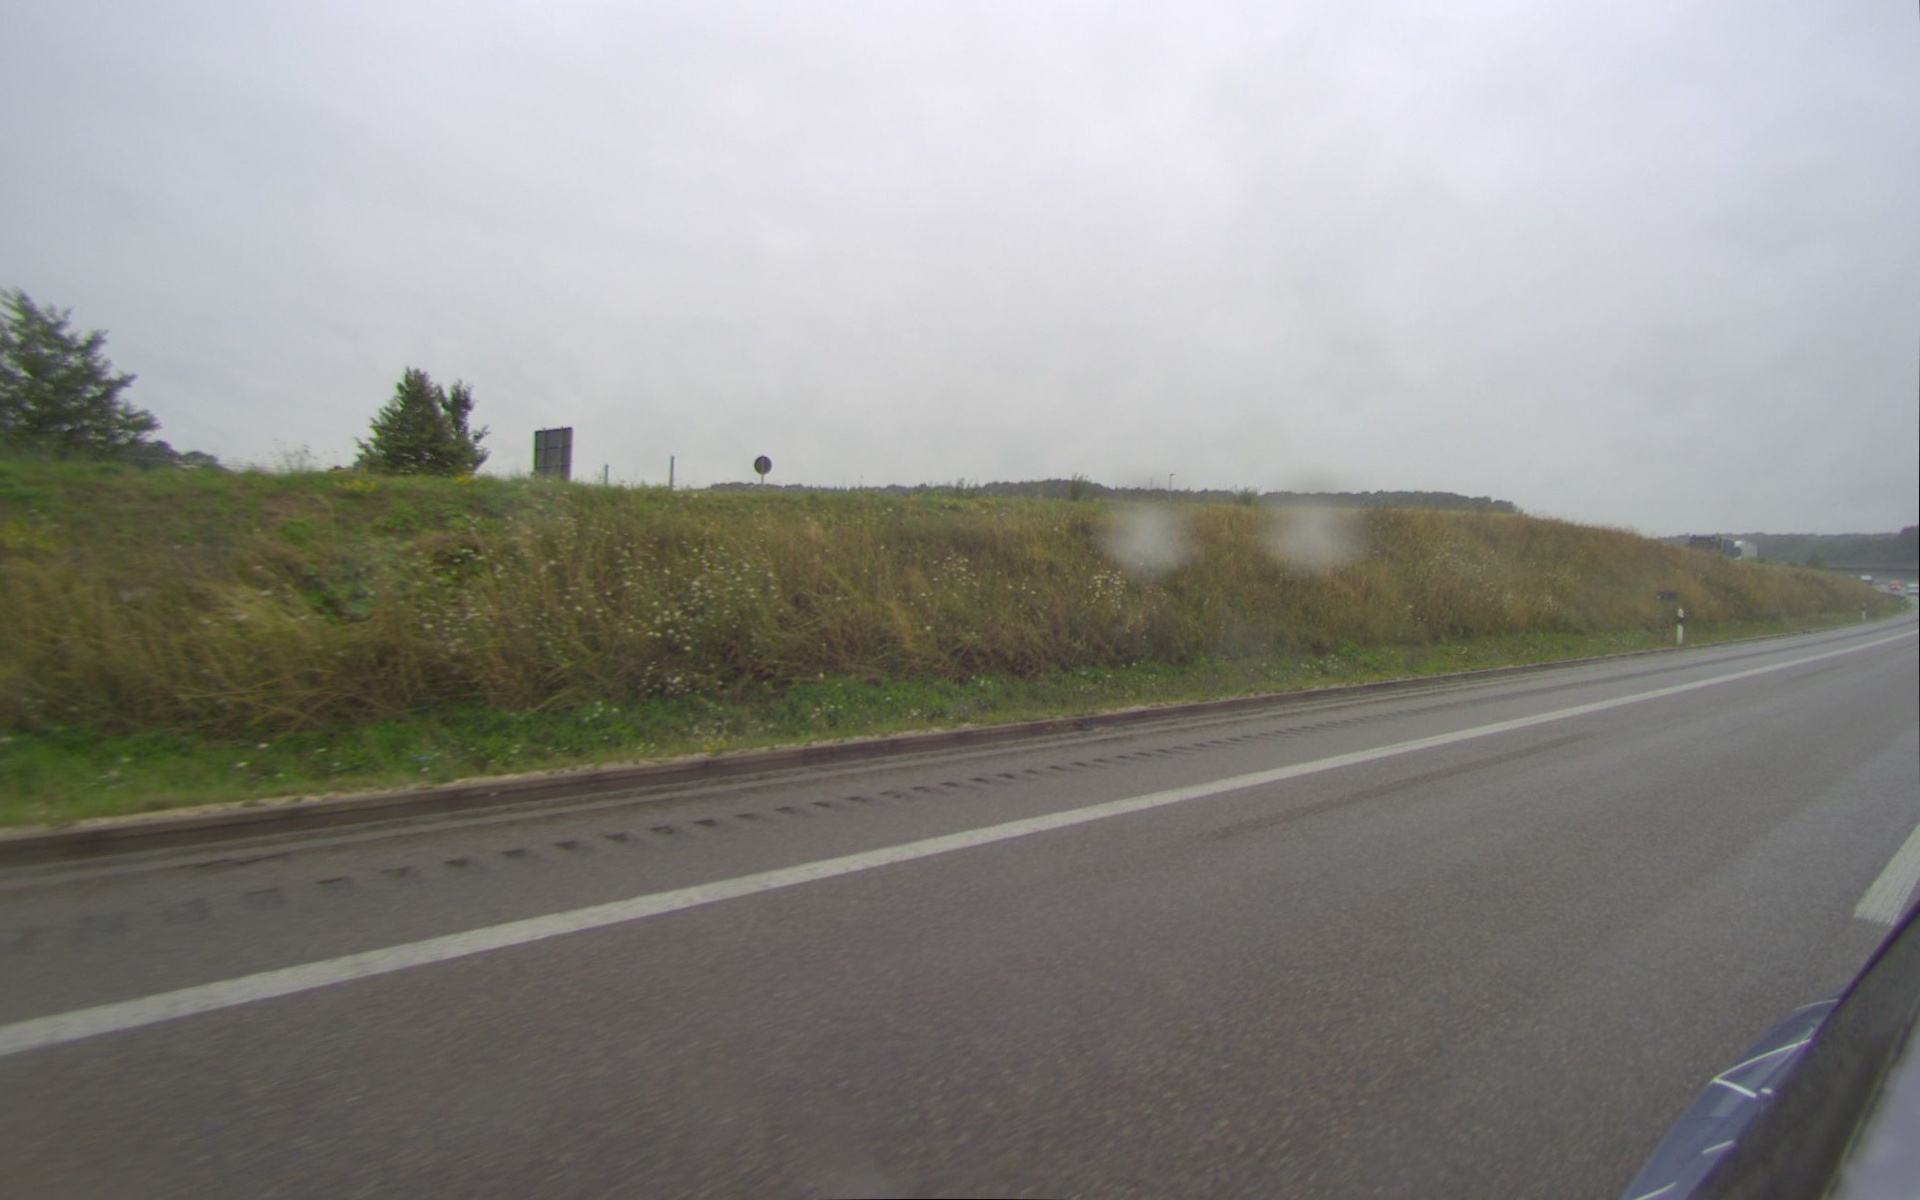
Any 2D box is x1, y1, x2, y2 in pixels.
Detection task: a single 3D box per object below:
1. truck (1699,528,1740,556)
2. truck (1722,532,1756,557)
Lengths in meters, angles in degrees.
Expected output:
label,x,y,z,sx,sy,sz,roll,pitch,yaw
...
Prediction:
label,x,y,z,sx,sy,sz,roll,pitch,yaw
truck,76.116,-5.788,101.369,4.976,2.637,2.369,-1,1,-42
truck,86.950,-6.127,112.952,4.998,2.599,2.425,-1,1,-45
